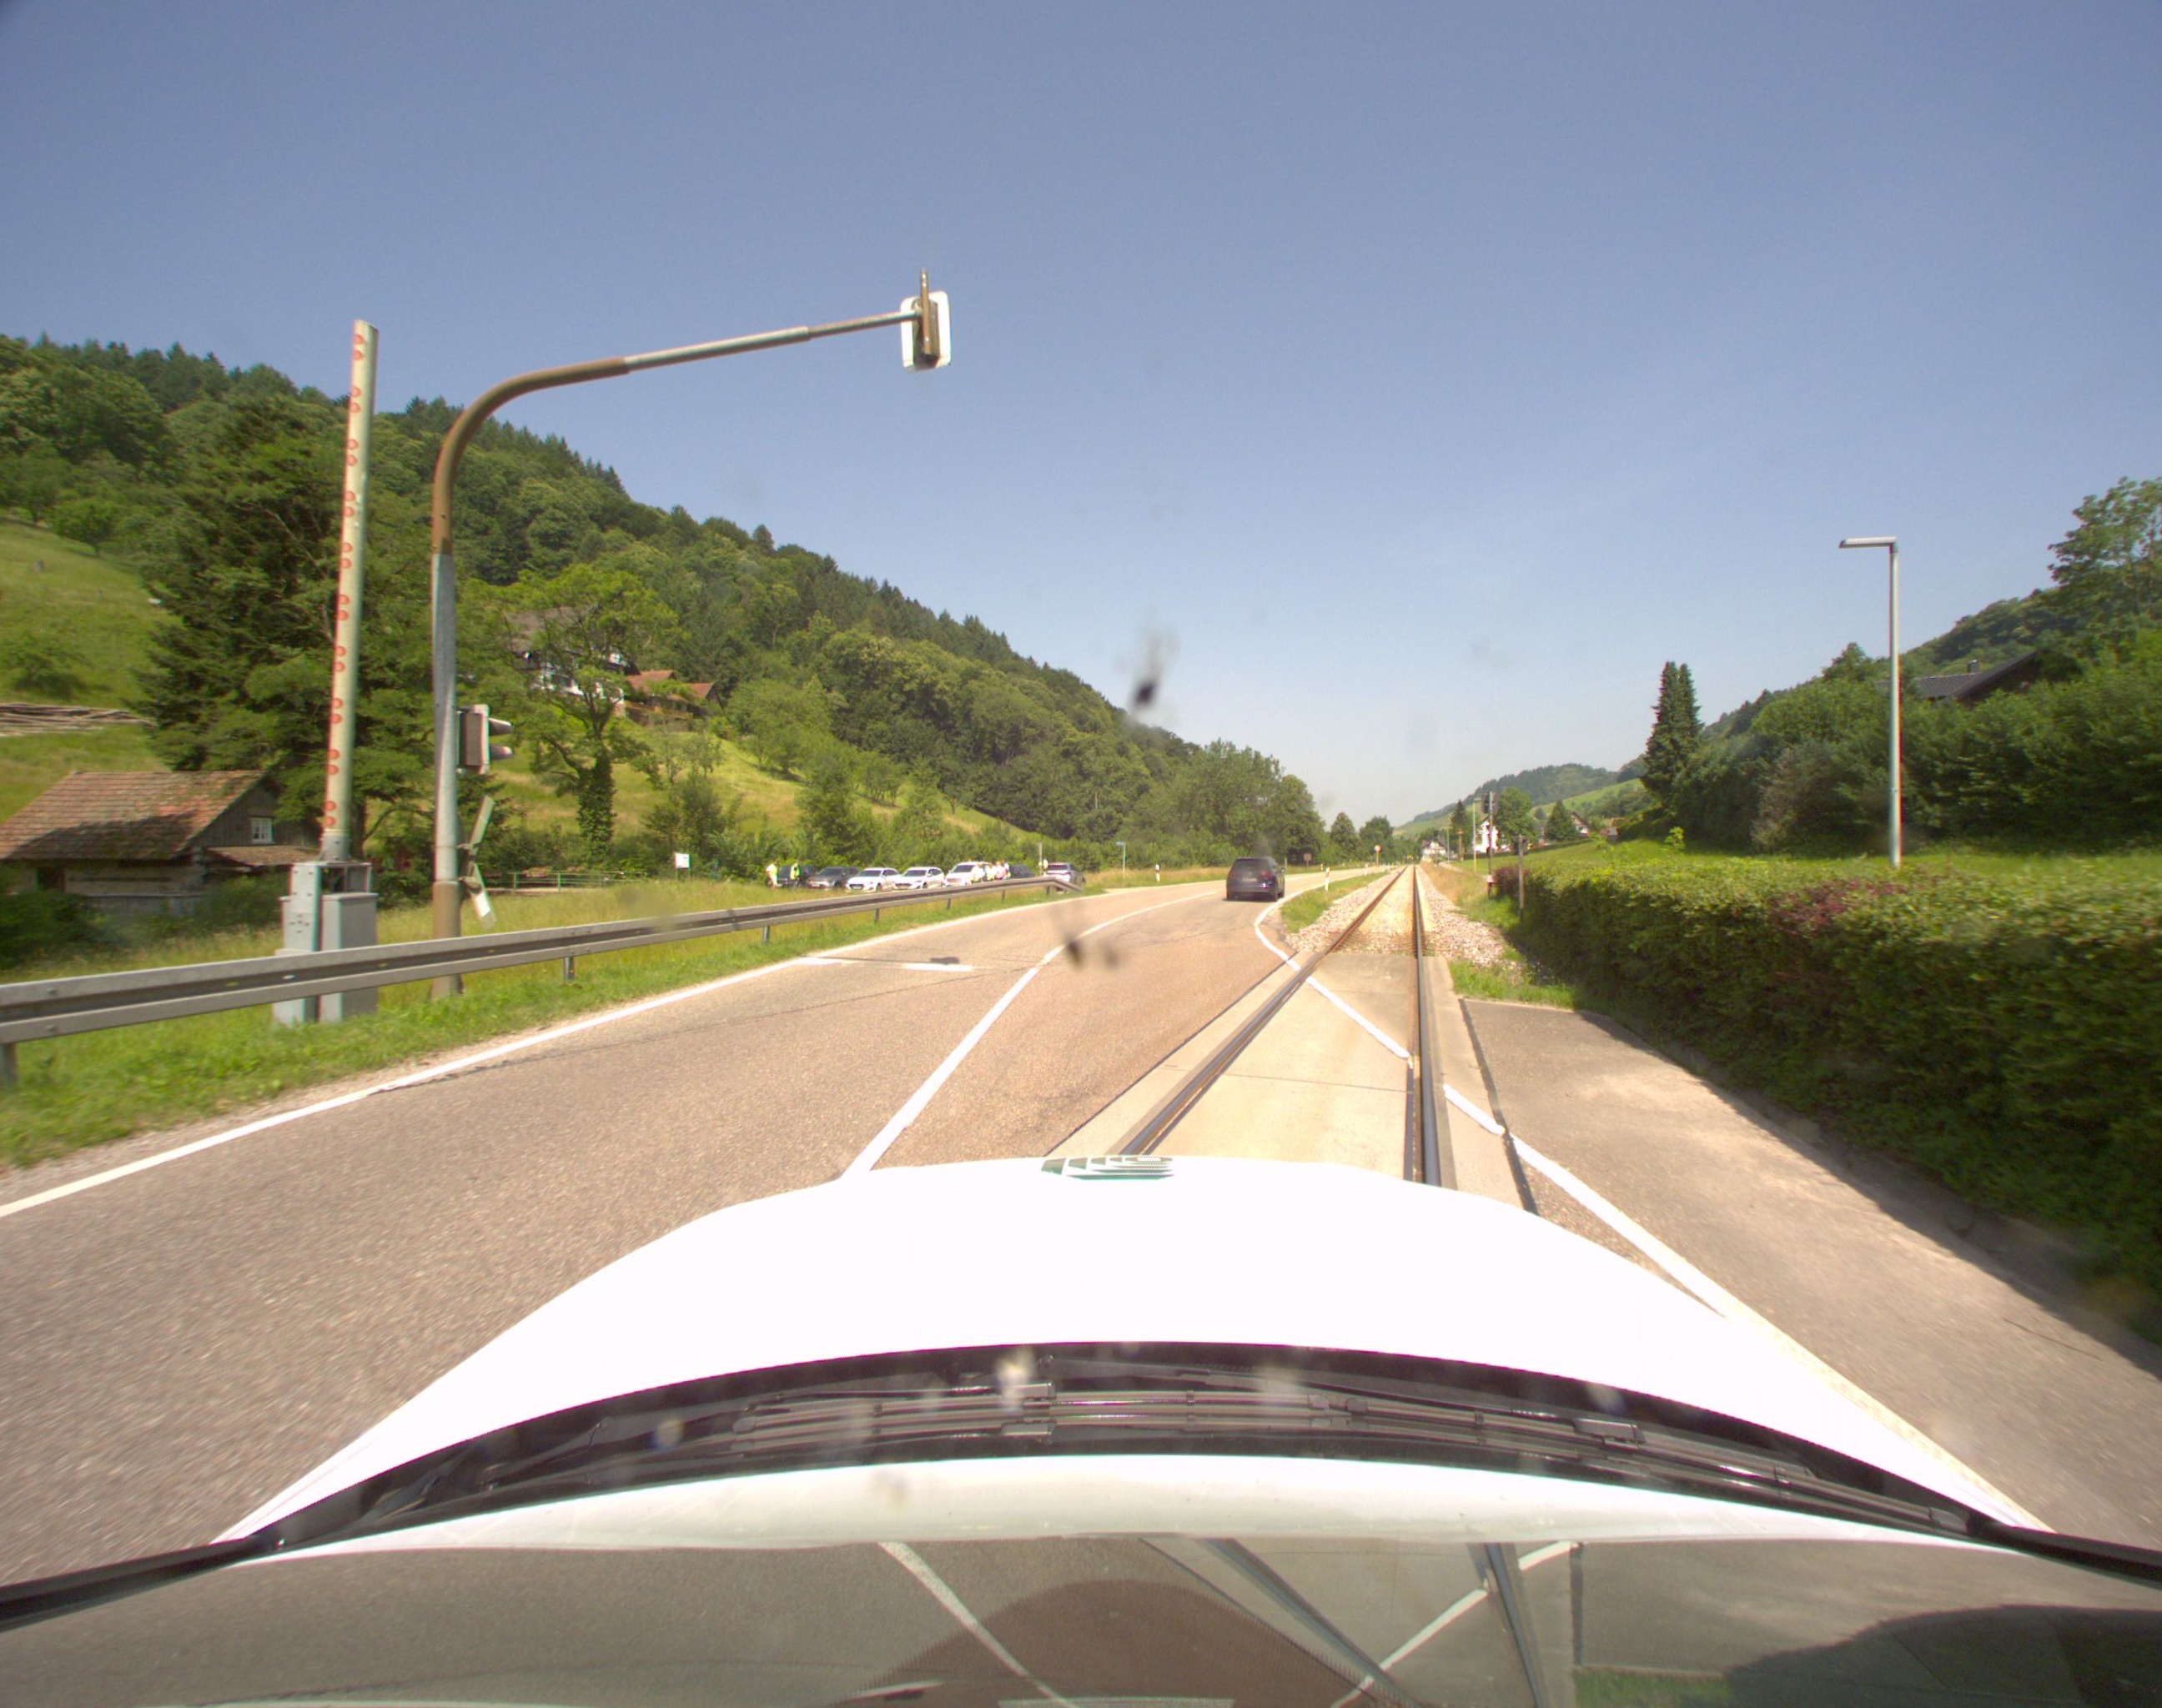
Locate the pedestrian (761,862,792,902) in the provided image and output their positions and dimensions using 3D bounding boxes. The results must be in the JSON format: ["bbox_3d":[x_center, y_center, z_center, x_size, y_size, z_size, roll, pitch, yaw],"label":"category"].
[{"bbox_3d":[-15.568,1.423,41.616,1.116,1.969,0.866,-2,-1,21],"label":"pedestrian"}]

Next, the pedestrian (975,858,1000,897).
[{"bbox_3d":[-4.455,1.129,38.869,0.761,1.796,0.799,-3,-2,38],"label":"pedestrian"}]

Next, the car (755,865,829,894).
[{"bbox_3d":[-16.594,1.425,47.005,1.981,1.501,4.534,-2,-1,10],"label":"car"}]

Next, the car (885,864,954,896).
[{"bbox_3d":[-9.021,1.416,45.917,1.980,1.641,4.918,-2,-1,12],"label":"car"}]

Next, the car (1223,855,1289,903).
[{"bbox_3d":[6.654,0.892,30.678,1.837,1.649,4.160,1,0,20],"label":"car"}]

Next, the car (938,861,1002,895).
[{"bbox_3d":[-6.174,1.319,45.833,1.857,1.782,4.791,-1,-1,15],"label":"car"}]

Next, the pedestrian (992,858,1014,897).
[{"bbox_3d":[-3.768,1.146,39.417,0.641,1.840,0.775,-3,-2,45],"label":"pedestrian"}]

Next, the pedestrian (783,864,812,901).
[{"bbox_3d":[-14.042,1.395,40.325,0.949,1.794,1.002,-2,-1,6],"label":"pedestrian"}]

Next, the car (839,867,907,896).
[{"bbox_3d":[-11.690,1.536,46.126,1.981,1.501,4.534,-2,-1,10],"label":"car"}]

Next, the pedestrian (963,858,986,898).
[{"bbox_3d":[-4.977,1.110,38.060,0.781,1.842,0.702,-2,-1,22],"label":"pedestrian"}]

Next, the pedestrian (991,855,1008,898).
[{"bbox_3d":[-3.842,1.051,38.339,0.658,1.955,0.533,-2,-1,2],"label":"pedestrian"}]

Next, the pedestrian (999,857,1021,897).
[{"bbox_3d":[-3.369,1.096,38.840,0.775,1.859,0.641,-1,-2,-45],"label":"pedestrian"}]

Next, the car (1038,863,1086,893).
[{"bbox_3d":[-0.947,1.247,43.364,1.815,1.501,4.287,-2,-1,8],"label":"car"}]

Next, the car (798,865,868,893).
[{"bbox_3d":[-14.128,1.411,46.690,1.981,1.501,4.534,1,-1,10],"label":"car"}]

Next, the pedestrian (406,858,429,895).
[{"bbox_3d":[-36.227,1.218,44.489,0.936,2.014,0.693,0,-2,-36],"label":"pedestrian"}]

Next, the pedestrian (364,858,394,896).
[{"bbox_3d":[-37.101,1.208,43.048,0.694,2.014,0.935,-2,-1,13],"label":"pedestrian"}]
